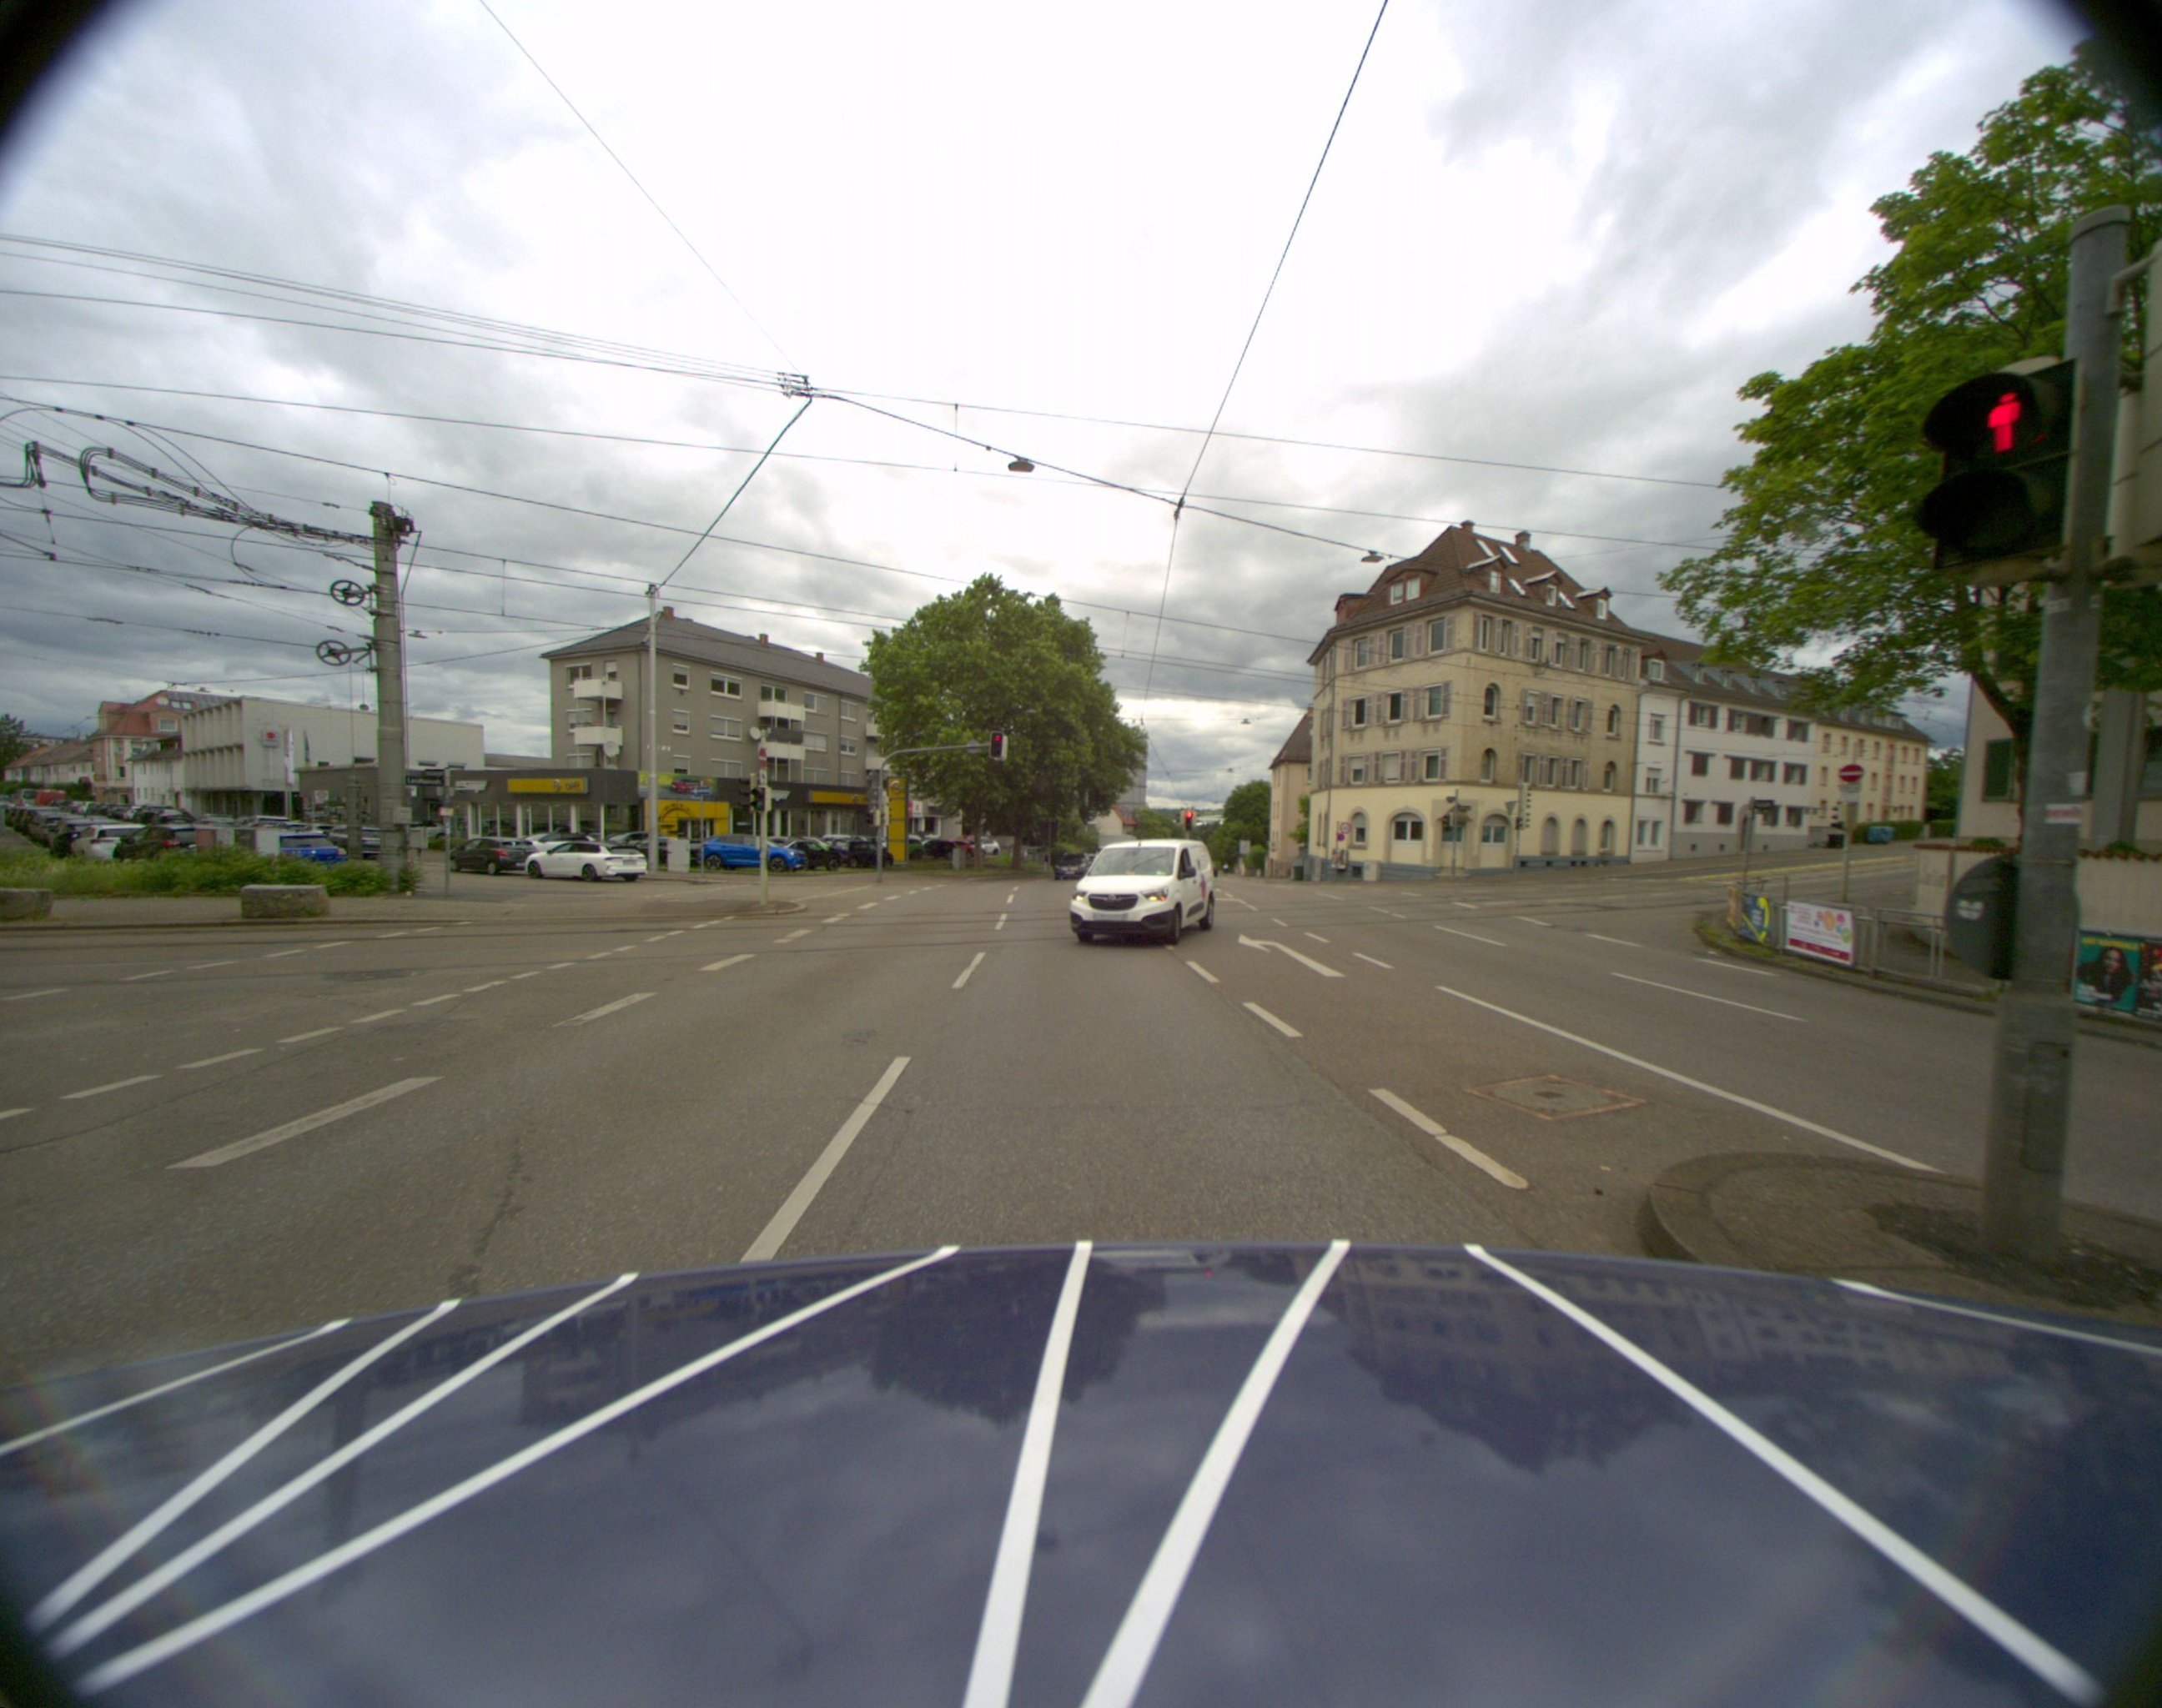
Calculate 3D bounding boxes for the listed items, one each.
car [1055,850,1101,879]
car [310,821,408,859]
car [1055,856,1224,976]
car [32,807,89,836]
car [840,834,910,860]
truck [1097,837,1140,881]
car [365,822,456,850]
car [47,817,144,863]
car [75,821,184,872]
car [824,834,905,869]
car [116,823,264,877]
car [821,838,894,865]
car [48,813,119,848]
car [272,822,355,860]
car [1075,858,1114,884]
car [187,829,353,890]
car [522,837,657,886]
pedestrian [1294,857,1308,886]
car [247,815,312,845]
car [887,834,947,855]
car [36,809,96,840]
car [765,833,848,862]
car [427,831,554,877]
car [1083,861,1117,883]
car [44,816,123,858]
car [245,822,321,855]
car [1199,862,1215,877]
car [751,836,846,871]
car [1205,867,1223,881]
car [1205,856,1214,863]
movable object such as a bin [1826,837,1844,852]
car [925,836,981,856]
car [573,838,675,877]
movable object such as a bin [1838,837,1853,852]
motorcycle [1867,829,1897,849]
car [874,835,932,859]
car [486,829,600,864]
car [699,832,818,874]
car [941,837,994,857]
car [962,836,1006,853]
[{"bbox_3d":[-0.097,0.555,41.919,1.997,1.517,4.260,0,0,7],"label":"car"},{"bbox_3d":[-32.513,-0.619,34.217,4.129,1.526,1.922,3,1,27],"label":"car"},{"bbox_3d":[1.319,0.974,14.423,1.885,1.827,4.683,0,1,22],"label":"car"},{"bbox_3d":[-64.198,-2.061,47.788,4.128,1.623,1.923,3,1,34],"label":"car"},{"bbox_3d":[-13.578,-0.453,50.141,3.995,1.541,1.864,2,1,5],"label":"car"},{"bbox_3d":[3.310,0.385,64.697,2.769,3.481,8.176,0,0,9],"label":"truck"},{"bbox_3d":[-41.256,-1.113,46.816,1.713,1.526,3.904,3,1,36],"label":"car"},{"bbox_3d":[-38.497,-0.554,29.669,4.128,1.623,1.923,3,1,32],"label":"car"},{"bbox_3d":[-33.687,-0.275,26.877,4.128,1.623,1.923,3,1,32],"label":"car"},{"bbox_3d":[-12.193,-0.098,43.020,1.823,1.599,4.179,8,2,31],"label":"car"},{"bbox_3d":[-29.105,-0.143,24.818,4.130,1.526,1.922,3,1,22],"label":"car"},{"bbox_3d":[-14.104,-0.148,48.073,3.995,1.541,1.864,2,1,5],"label":"car"},{"bbox_3d":[-50.523,-1.195,38.476,4.128,1.623,1.923,3,1,34],"label":"car"},{"bbox_3d":[-37.638,-0.647,37.241,4.129,1.636,1.922,3,1,31],"label":"car"},{"bbox_3d":[0.883,1.040,47.182,1.997,1.517,4.260,0,0,7],"label":"car"},{"bbox_3d":[-23.906,0.130,22.415,4.131,1.526,1.922,3,1,21],"label":"car"},{"bbox_3d":[-17.821,0.238,27.589,4.131,1.526,1.921,3,1,18],"label":"car"},{"bbox_3d":[15.008,1.161,51.775,0.746,1.925,0.904,-2,0,8],"label":"pedestrian"},{"bbox_3d":[-46.171,-1.385,43.739,4.128,1.526,1.923,3,1,35],"label":"car"},{"bbox_3d":[-12.449,-0.710,57.687,4.006,1.496,1.858,1,1,-27],"label":"car"},{"bbox_3d":[-59.628,-1.725,44.632,4.128,1.623,1.923,3,1,34],"label":"car"},{"bbox_3d":[-15.701,-0.367,43.549,3.994,1.541,1.864,2,1,9],"label":"car"},{"bbox_3d":[-22.754,-0.017,29.291,4.131,1.526,1.921,3,1,20],"label":"car"},{"bbox_3d":[1.380,1.246,54.555,1.997,1.457,4.411,0,0,7],"label":"car"},{"bbox_3d":[-43.140,-0.737,32.840,4.128,1.623,1.923,3,1,35],"label":"car"},{"bbox_3d":[-41.689,-0.807,39.682,4.128,1.526,1.923,3,1,32],"label":"car"},{"bbox_3d":[16.708,2.027,100.869,1.868,1.872,4.288,4,0,7],"label":"car"},{"bbox_3d":[-13.650,0.010,36.952,1.824,1.468,4.009,3,-1,31],"label":"car"},{"bbox_3d":[13.989,2.084,79.631,1.757,1.438,3.755,0,0,11],"label":"car"},{"bbox_3d":[29.505,1.293,174.445,1.997,1.590,4.004,0,-1,10],"label":"car"},{"bbox_3d":[53.166,-0.693,53.572,0.603,1.004,0.636,-2,6,-27],"label":"movable object such as a bin"},{"bbox_3d":[-10.271,-0.660,60.989,4.008,1.496,1.857,1,1,-39],"label":"car"},{"bbox_3d":[-22.683,0.195,37.920,1.709,1.770,4.252,3,0,18],"label":"car"},{"bbox_3d":[54.121,-0.680,53.795,0.499,1.004,0.563,-3,7,-36],"label":"movable object such as a bin"},{"bbox_3d":[60.367,-1.131,57.264,1.938,1.383,0.730,-1,7,-21],"label":"motorcycle"},{"bbox_3d":[-12.438,-0.482,53.019,3.617,1.544,1.617,1,1,-30],"label":"car"},{"bbox_3d":[-25.970,-0.310,36.811,1.789,1.526,4.126,3,0,27],"label":"car"},{"bbox_3d":[-13.897,-0.022,32.915,4.256,1.568,1.829,3,0,-1],"label":"car"},{"bbox_3d":[-9.562,-0.593,64.357,4.008,1.496,1.858,1,1,-36],"label":"car"},{"bbox_3d":[-9.001,-0.881,70.561,3.625,1.496,1.786,1,1,-44],"label":"car"}]
